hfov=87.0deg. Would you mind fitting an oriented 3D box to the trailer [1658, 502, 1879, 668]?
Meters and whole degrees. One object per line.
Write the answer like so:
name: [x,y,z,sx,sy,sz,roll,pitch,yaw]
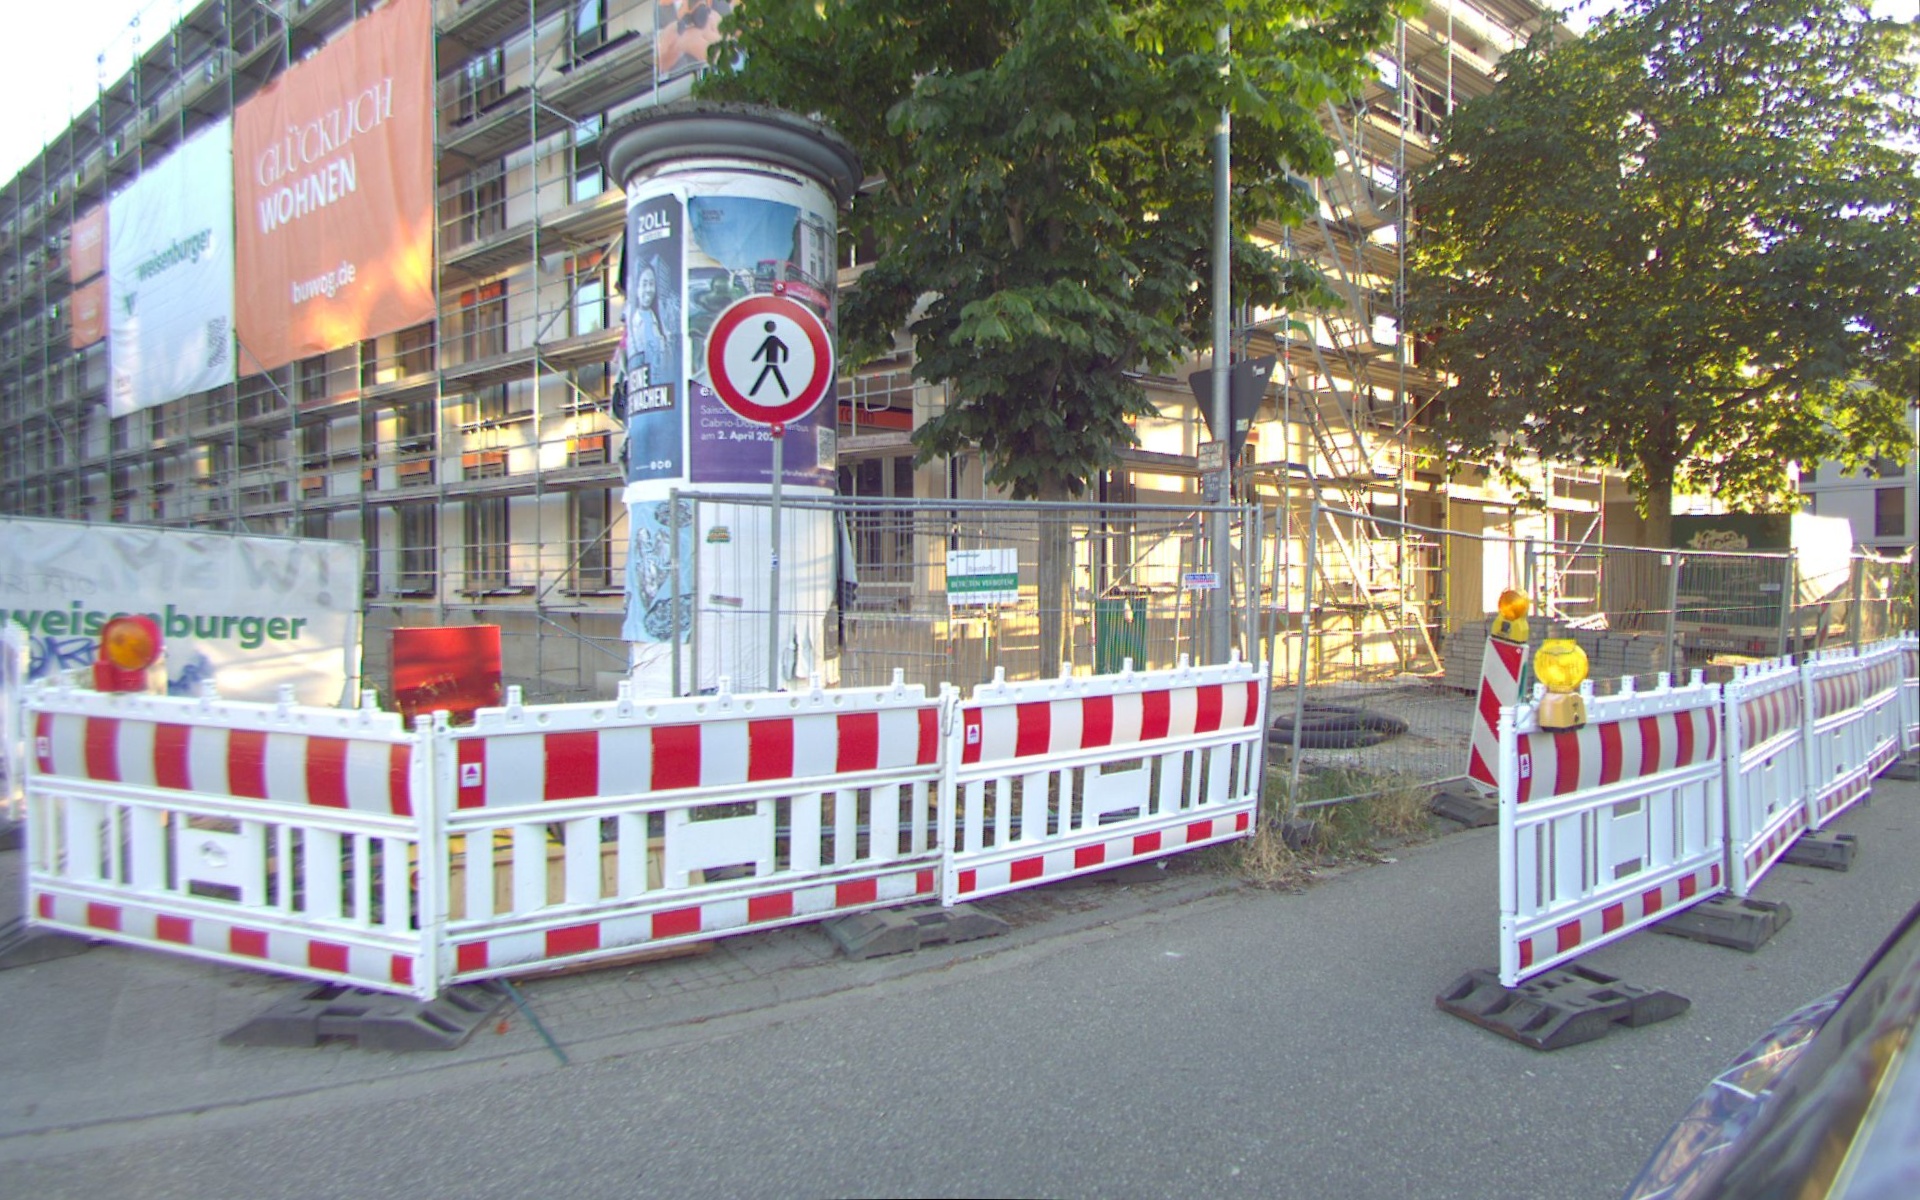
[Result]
trailer: [14.179,-0.260,17.689,4.107,2.571,2.000,-1,1,-36]
